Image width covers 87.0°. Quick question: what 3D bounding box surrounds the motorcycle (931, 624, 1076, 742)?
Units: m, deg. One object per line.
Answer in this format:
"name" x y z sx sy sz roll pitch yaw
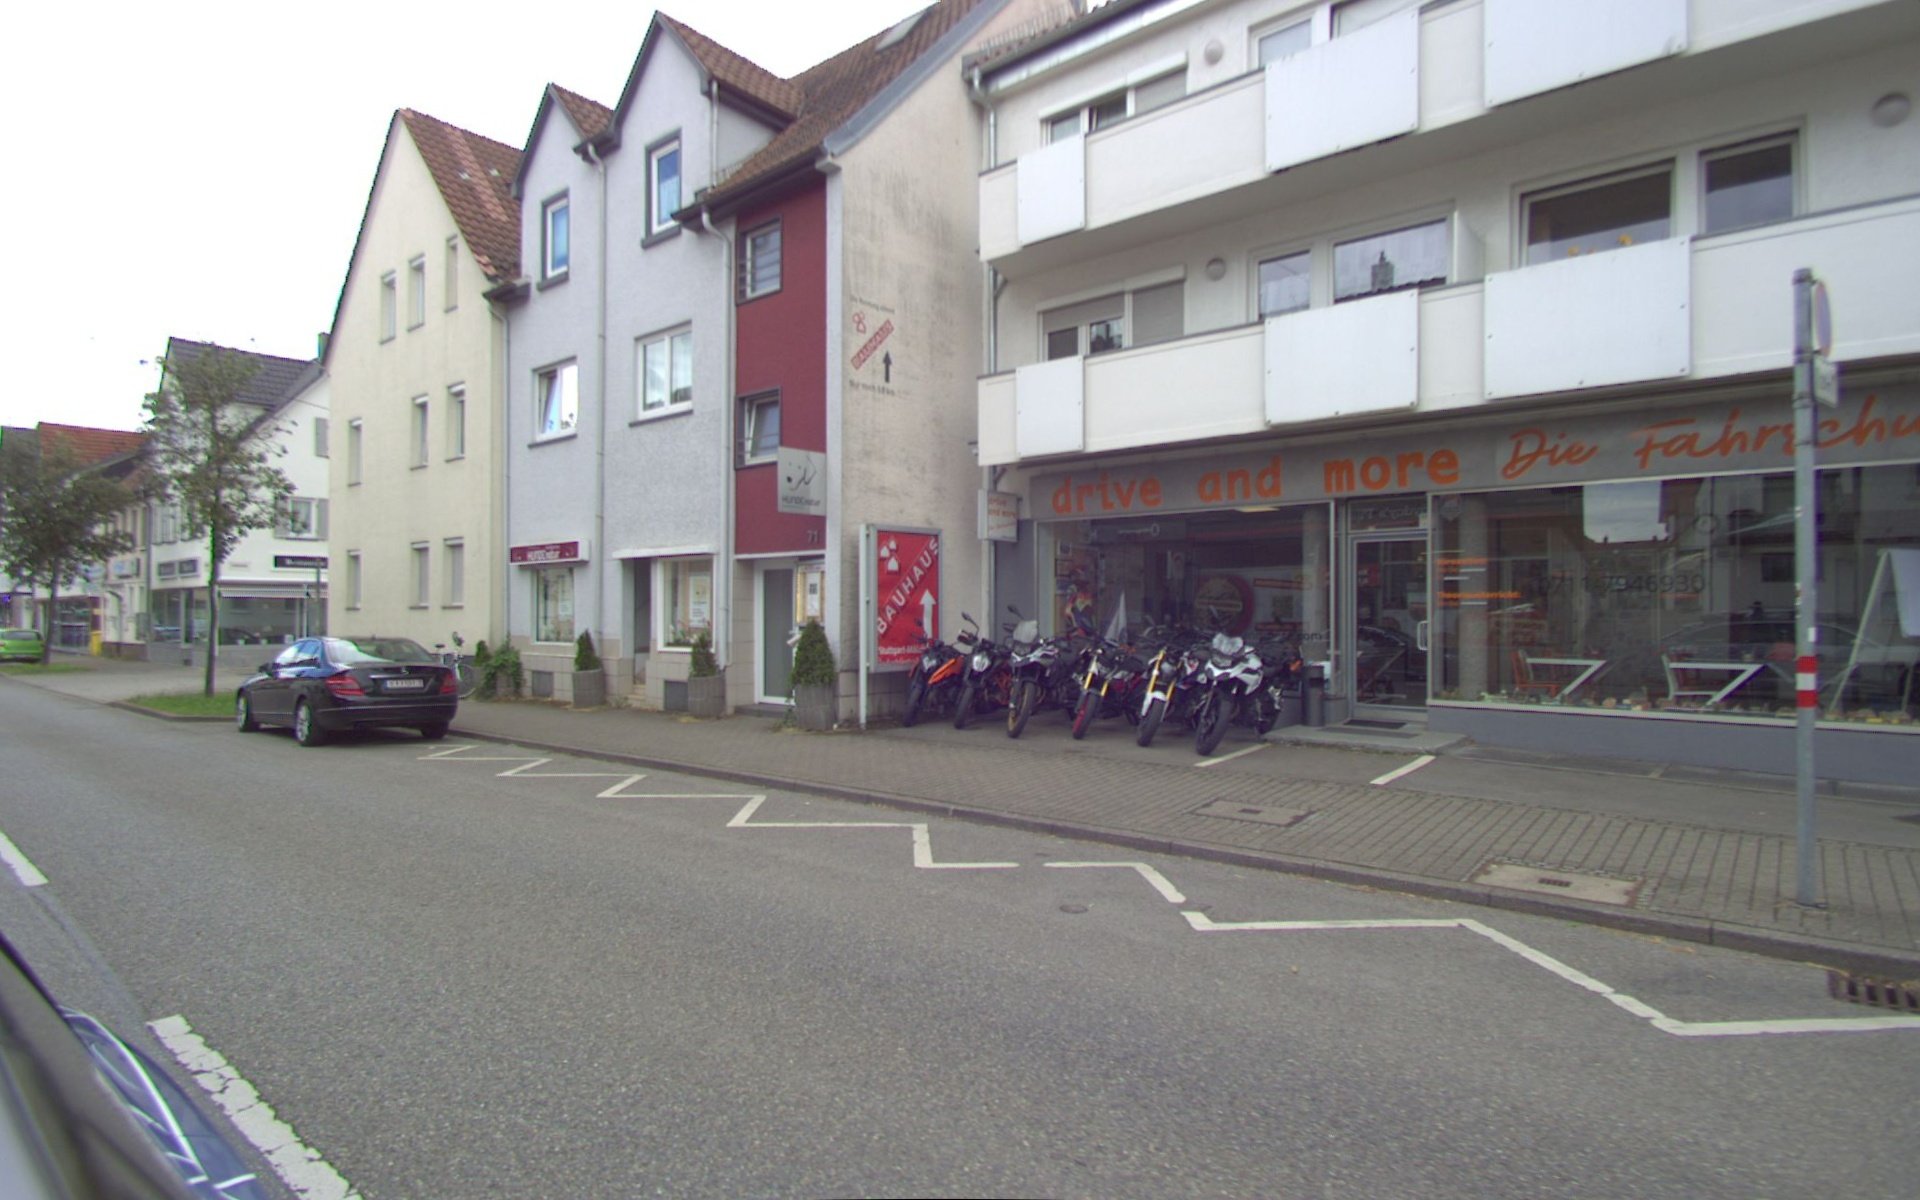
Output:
"motorcycle" 0.598 0.998 12.882 0.612 1.275 2.203 -1 1 40

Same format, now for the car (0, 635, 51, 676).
"car" -35.162 2.031 37.467 3.897 1.407 1.694 -1 -1 40

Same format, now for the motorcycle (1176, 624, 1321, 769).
"motorcycle" 3.092 0.941 10.688 0.612 1.275 2.203 -1 1 40

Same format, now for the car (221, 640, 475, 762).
"car" -8.706 1.295 14.259 4.338 1.428 1.769 -1 -3 40

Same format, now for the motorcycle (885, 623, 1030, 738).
"motorcycle" 0.013 0.999 13.261 0.612 1.275 2.203 -1 1 40

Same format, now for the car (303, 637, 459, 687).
"car" -16.055 1.699 28.166 1.610 1.198 3.446 -4 -2 40

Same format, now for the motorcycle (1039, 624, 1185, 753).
"motorcycle" 1.827 0.970 11.857 0.612 1.275 2.203 -1 1 40

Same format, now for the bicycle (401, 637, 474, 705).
"bicycle" -10.013 1.331 19.364 2.022 1.205 0.509 -1 -1 40

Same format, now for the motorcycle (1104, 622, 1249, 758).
"motorcycle" 2.471 0.941 11.319 0.612 1.275 2.203 -1 1 40

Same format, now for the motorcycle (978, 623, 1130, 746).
"motorcycle" 1.200 0.971 12.400 0.698 1.275 2.203 -1 1 40
